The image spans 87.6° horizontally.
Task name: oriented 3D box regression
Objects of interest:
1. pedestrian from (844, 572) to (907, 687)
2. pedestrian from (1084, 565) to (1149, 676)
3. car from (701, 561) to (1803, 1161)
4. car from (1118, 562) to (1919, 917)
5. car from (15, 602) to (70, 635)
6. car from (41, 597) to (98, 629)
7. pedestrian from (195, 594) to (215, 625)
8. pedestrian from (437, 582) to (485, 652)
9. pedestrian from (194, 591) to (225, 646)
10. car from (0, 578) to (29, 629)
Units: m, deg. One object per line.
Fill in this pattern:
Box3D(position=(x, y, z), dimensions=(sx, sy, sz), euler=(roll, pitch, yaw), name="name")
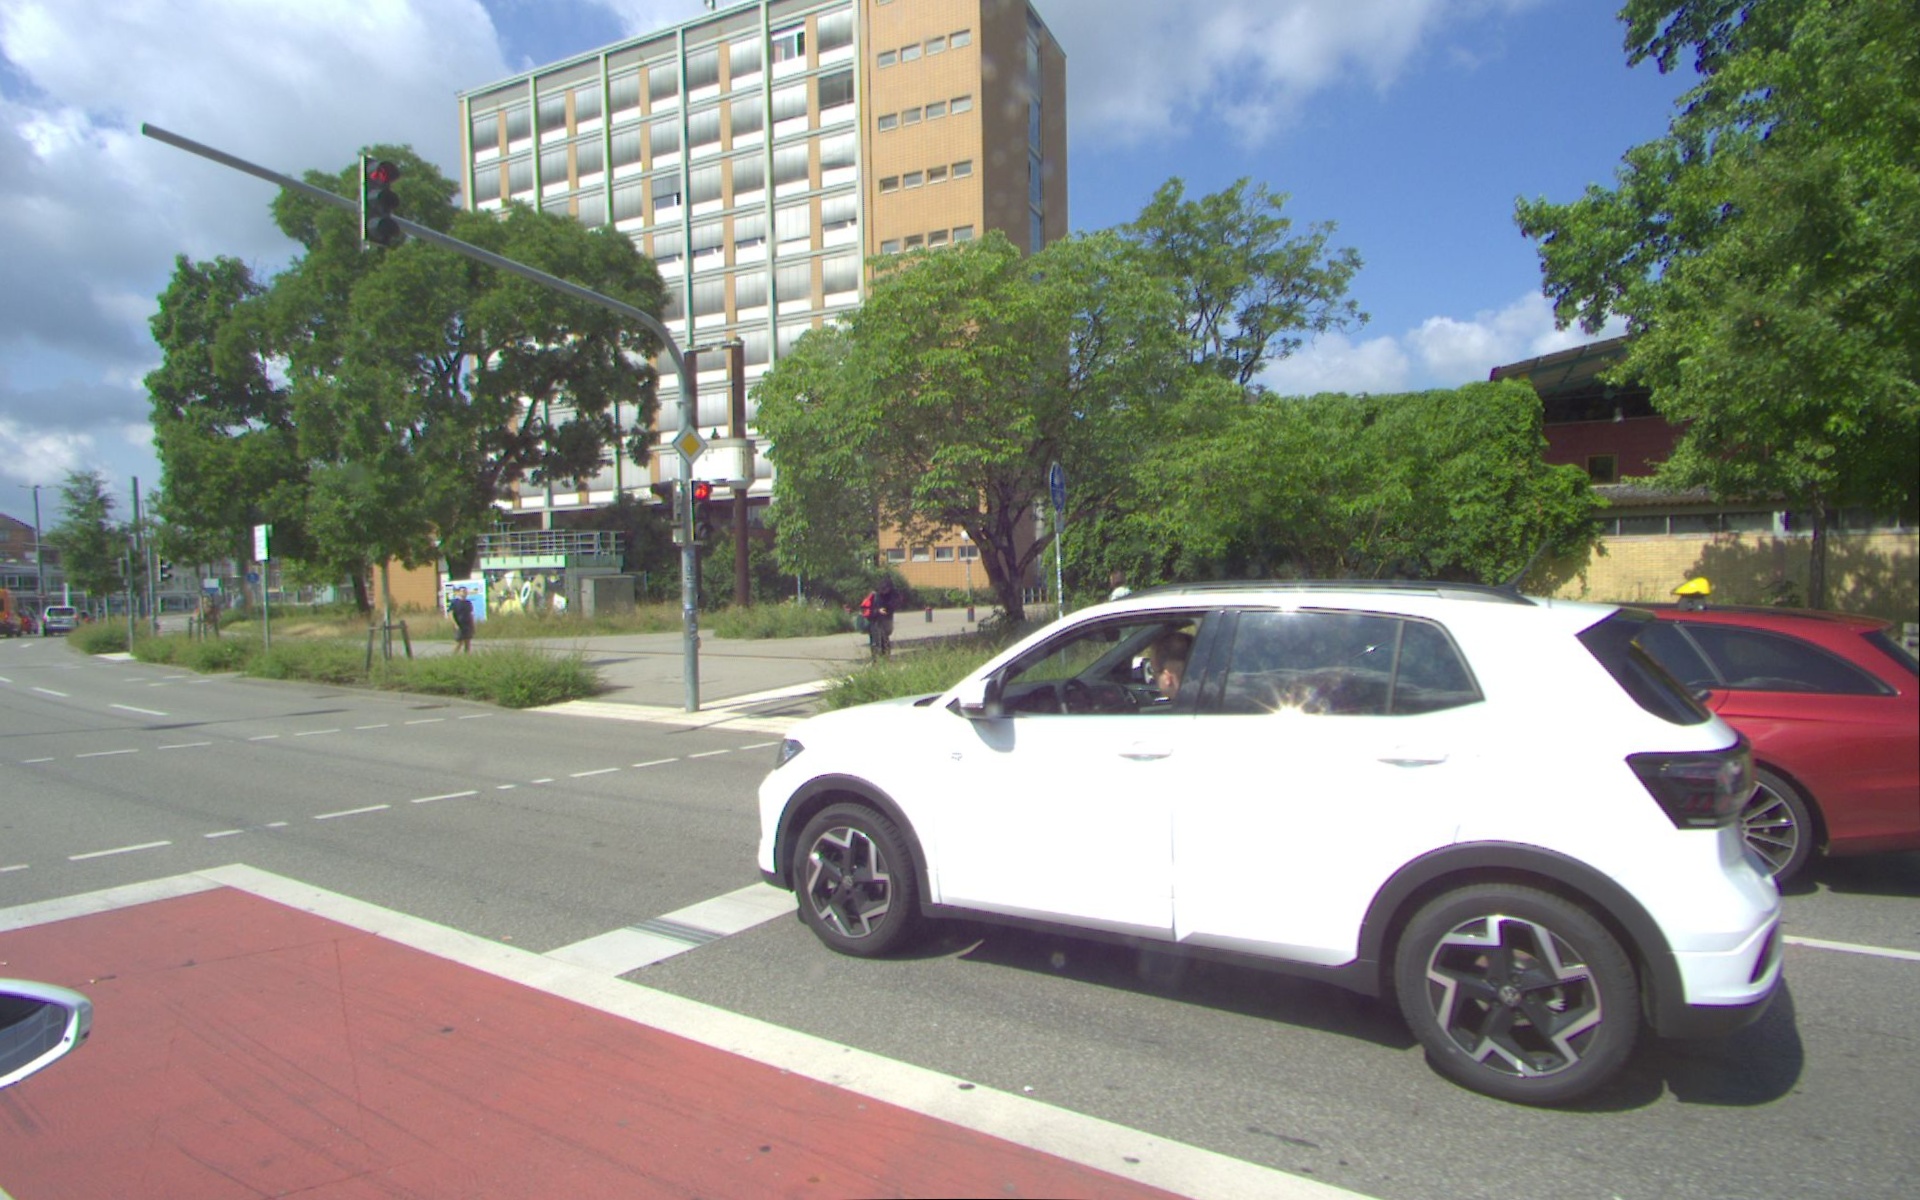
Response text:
Box3D(position=(-1.330, 0.446, 15.835), dimensions=(0.669, 1.759, 0.740), euler=(0, 2, 33), name="pedestrian")
Box3D(position=(2.435, 0.299, 15.572), dimensions=(0.710, 1.660, 0.866), euler=(0, 2, 32), name="pedestrian")
Box3D(position=(0.940, 0.696, 4.393), dimensions=(3.952, 1.559, 1.788), euler=(0, 0, 31), name="car")
Box3D(position=(3.370, 0.654, 6.323), dimensions=(4.396, 1.663, 1.678), euler=(0, 1, 31), name="car")
Box3D(position=(-59.272, 1.151, 64.739), dimensions=(1.972, 1.965, 4.606), euler=(-2, 2, -35), name="car")
Box3D(position=(-53.876, 0.733, 60.655), dimensions=(1.973, 1.819, 3.974), euler=(-2, 1, -34), name="car")
Box3D(position=(-44.117, 0.554, 58.494), dimensions=(0.778, 1.808, 0.664), euler=(-2, 2, -27), name="pedestrian")
Box3D(position=(-11.104, 0.376, 22.284), dimensions=(0.544, 1.528, 0.767), euler=(0, 2, 35), name="pedestrian")
Box3D(position=(-24.723, 0.598, 32.985), dimensions=(0.570, 1.757, 0.657), euler=(1, 2, 38), name="pedestrian")
Box3D(position=(-54.858, 0.217, 56.961), dimensions=(2.109, 2.818, 4.605), euler=(-2, 2, -35), name="car")
